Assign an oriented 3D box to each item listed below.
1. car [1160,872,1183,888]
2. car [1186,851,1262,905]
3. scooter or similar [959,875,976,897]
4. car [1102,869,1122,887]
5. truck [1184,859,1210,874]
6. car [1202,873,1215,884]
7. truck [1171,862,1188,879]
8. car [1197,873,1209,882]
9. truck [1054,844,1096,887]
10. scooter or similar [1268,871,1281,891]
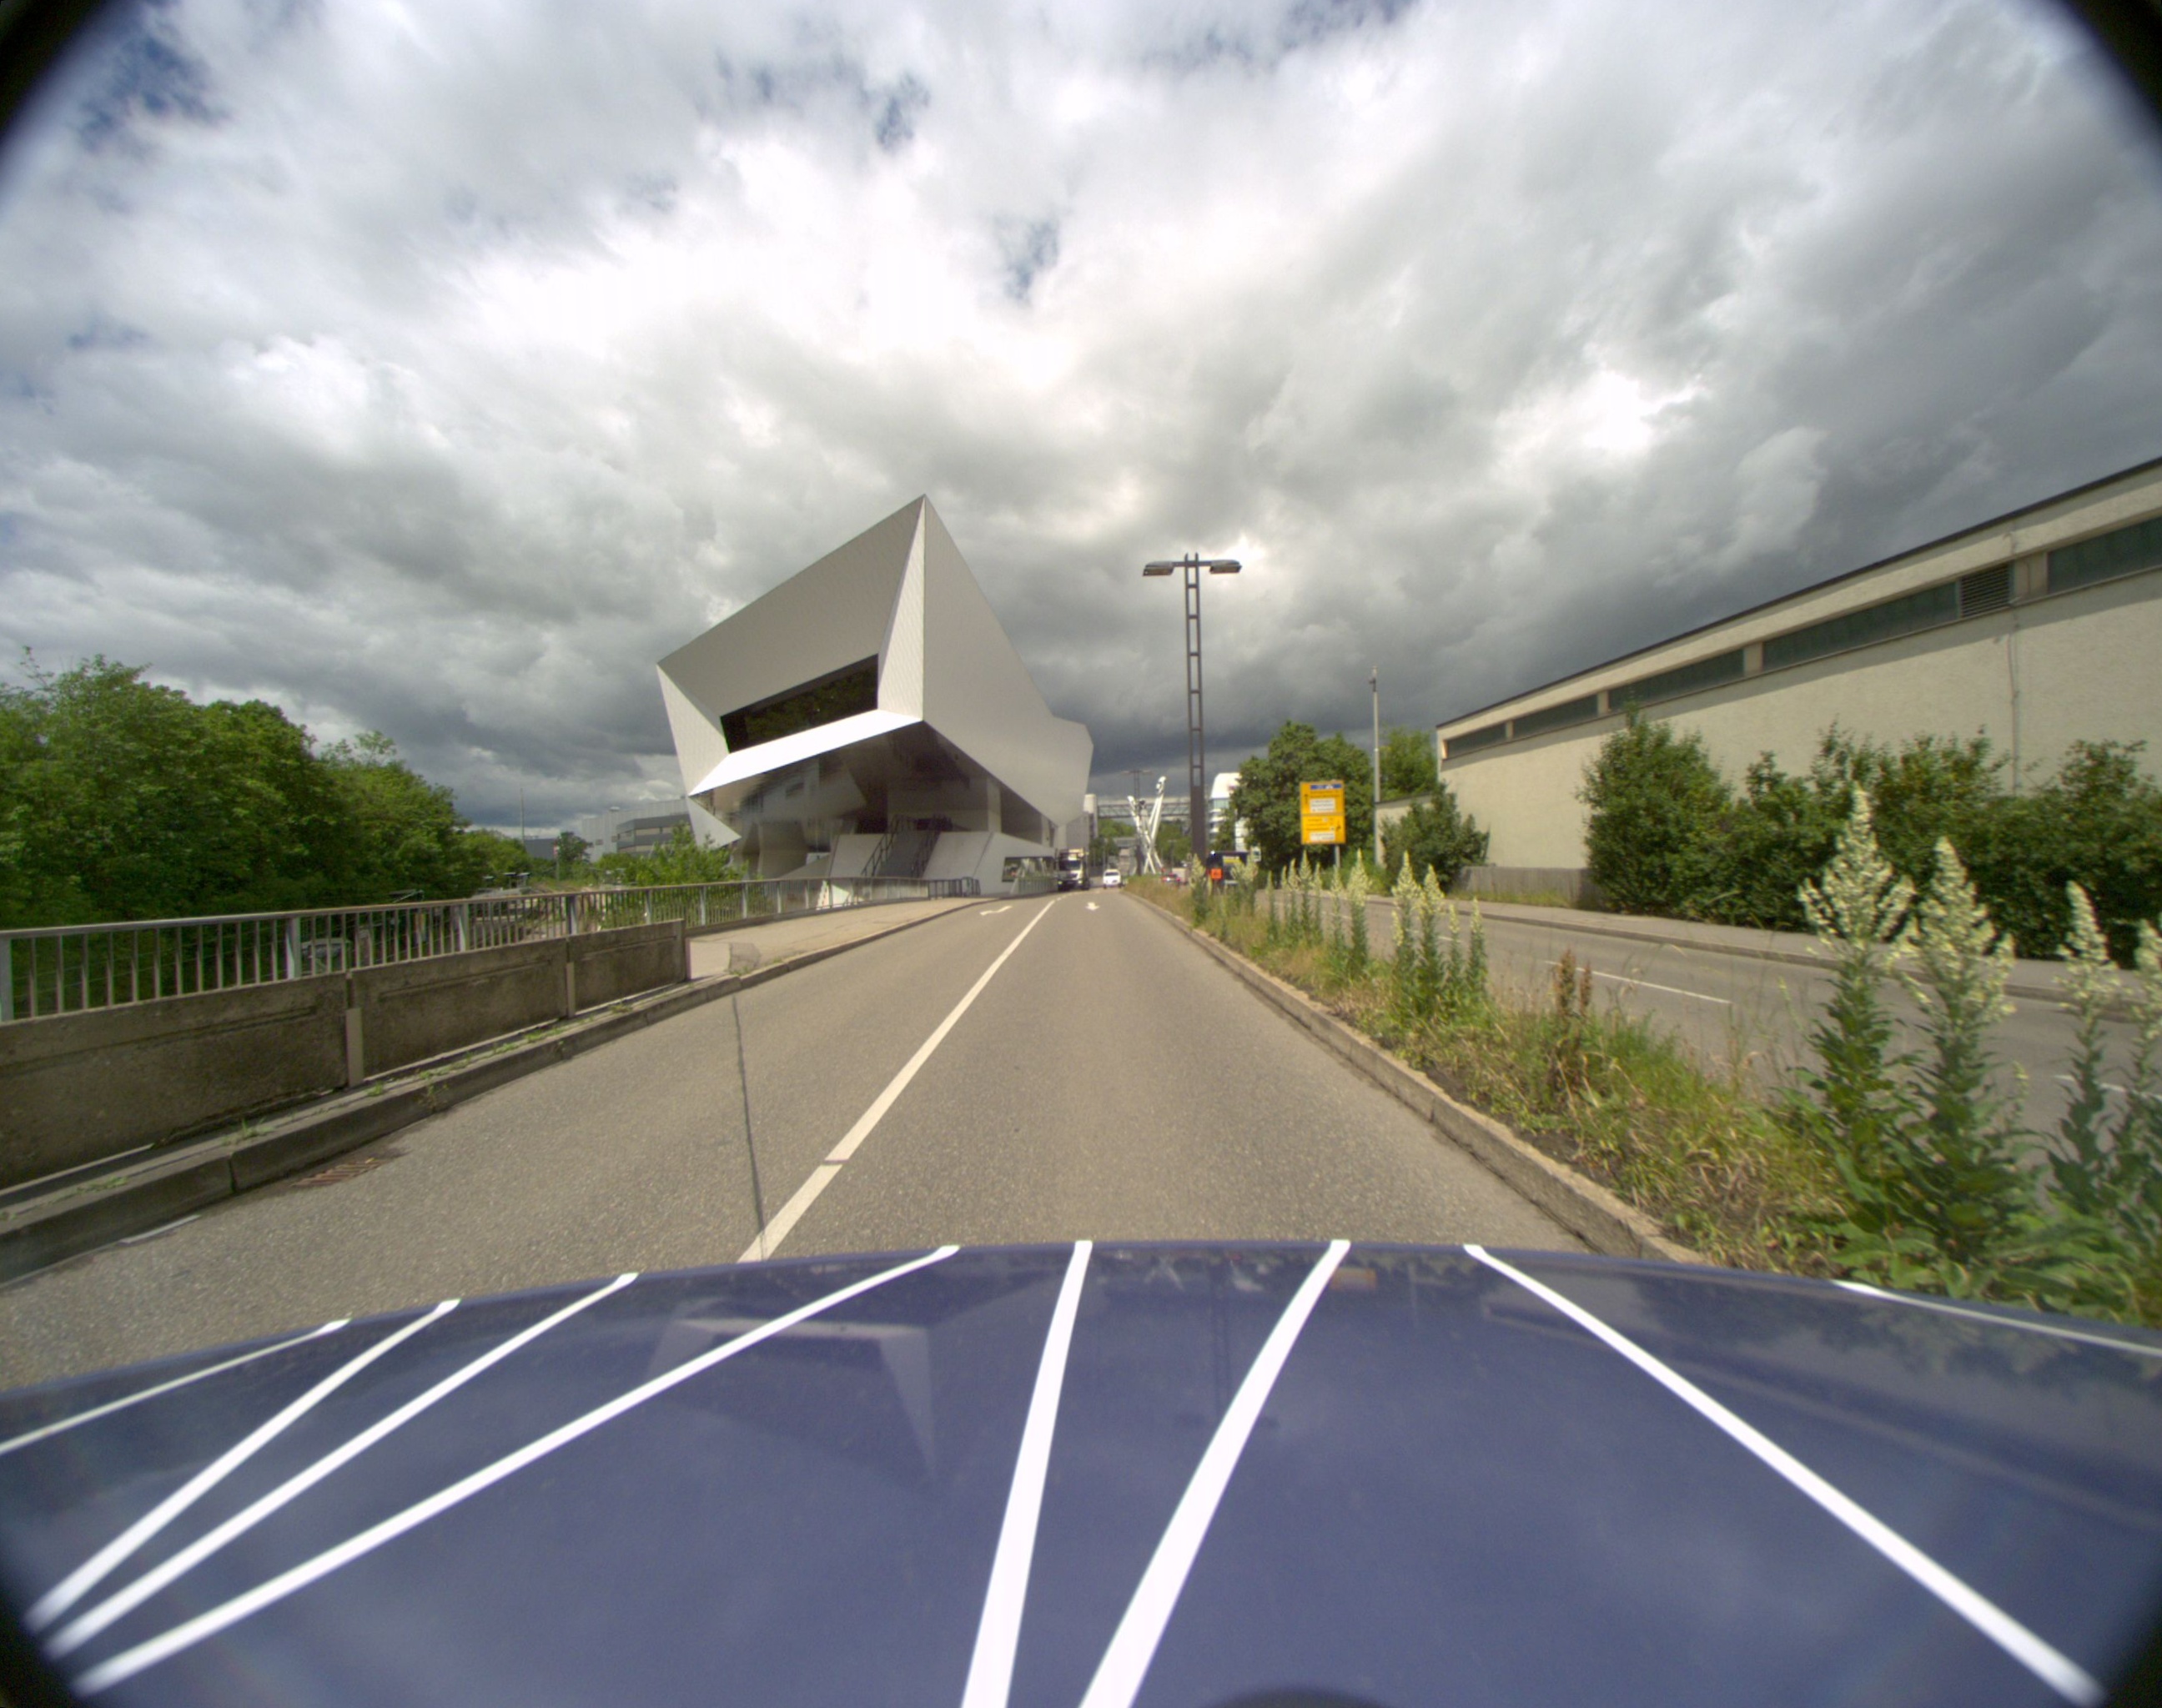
[{"bbox_3d":[9.207,2.622,77.873,1.882,1.617,4.445,0,-1,1],"label":"car"},{"bbox_3d":[5.413,0.877,29.401,1.998,1.877,4.869,-1,-1,0],"label":"car"},{"bbox_3d":[-6.473,1.810,43.444,0.655,1.206,1.858,-1,-1,1],"label":"scooter or similar"},{"bbox_3d":[3.416,2.613,82.677,1.986,1.702,4.762,-2,0,3],"label":"car"},{"bbox_3d":[31.391,3.374,205.596,2.364,3.545,8.975,-2,-3,-24],"label":"truck"},{"bbox_3d":[24.566,4.683,146.279,1.996,1.946,4.635,-2,-2,17],"label":"car"},{"bbox_3d":[18.735,3.261,144.375,2.861,2.839,9.389,-2,-4,9],"label":"truck"},{"bbox_3d":[20.881,4.065,129.994,1.843,1.498,4.565,-1,-2,8],"label":"car"},{"bbox_3d":[-0.407,1.121,71.929,2.842,3.668,10.760,-2,-2,5],"label":"truck"},{"bbox_3d":[12.833,1.775,50.397,0.492,1.296,1.644,-3,-2,6],"label":"scooter or similar"}]
